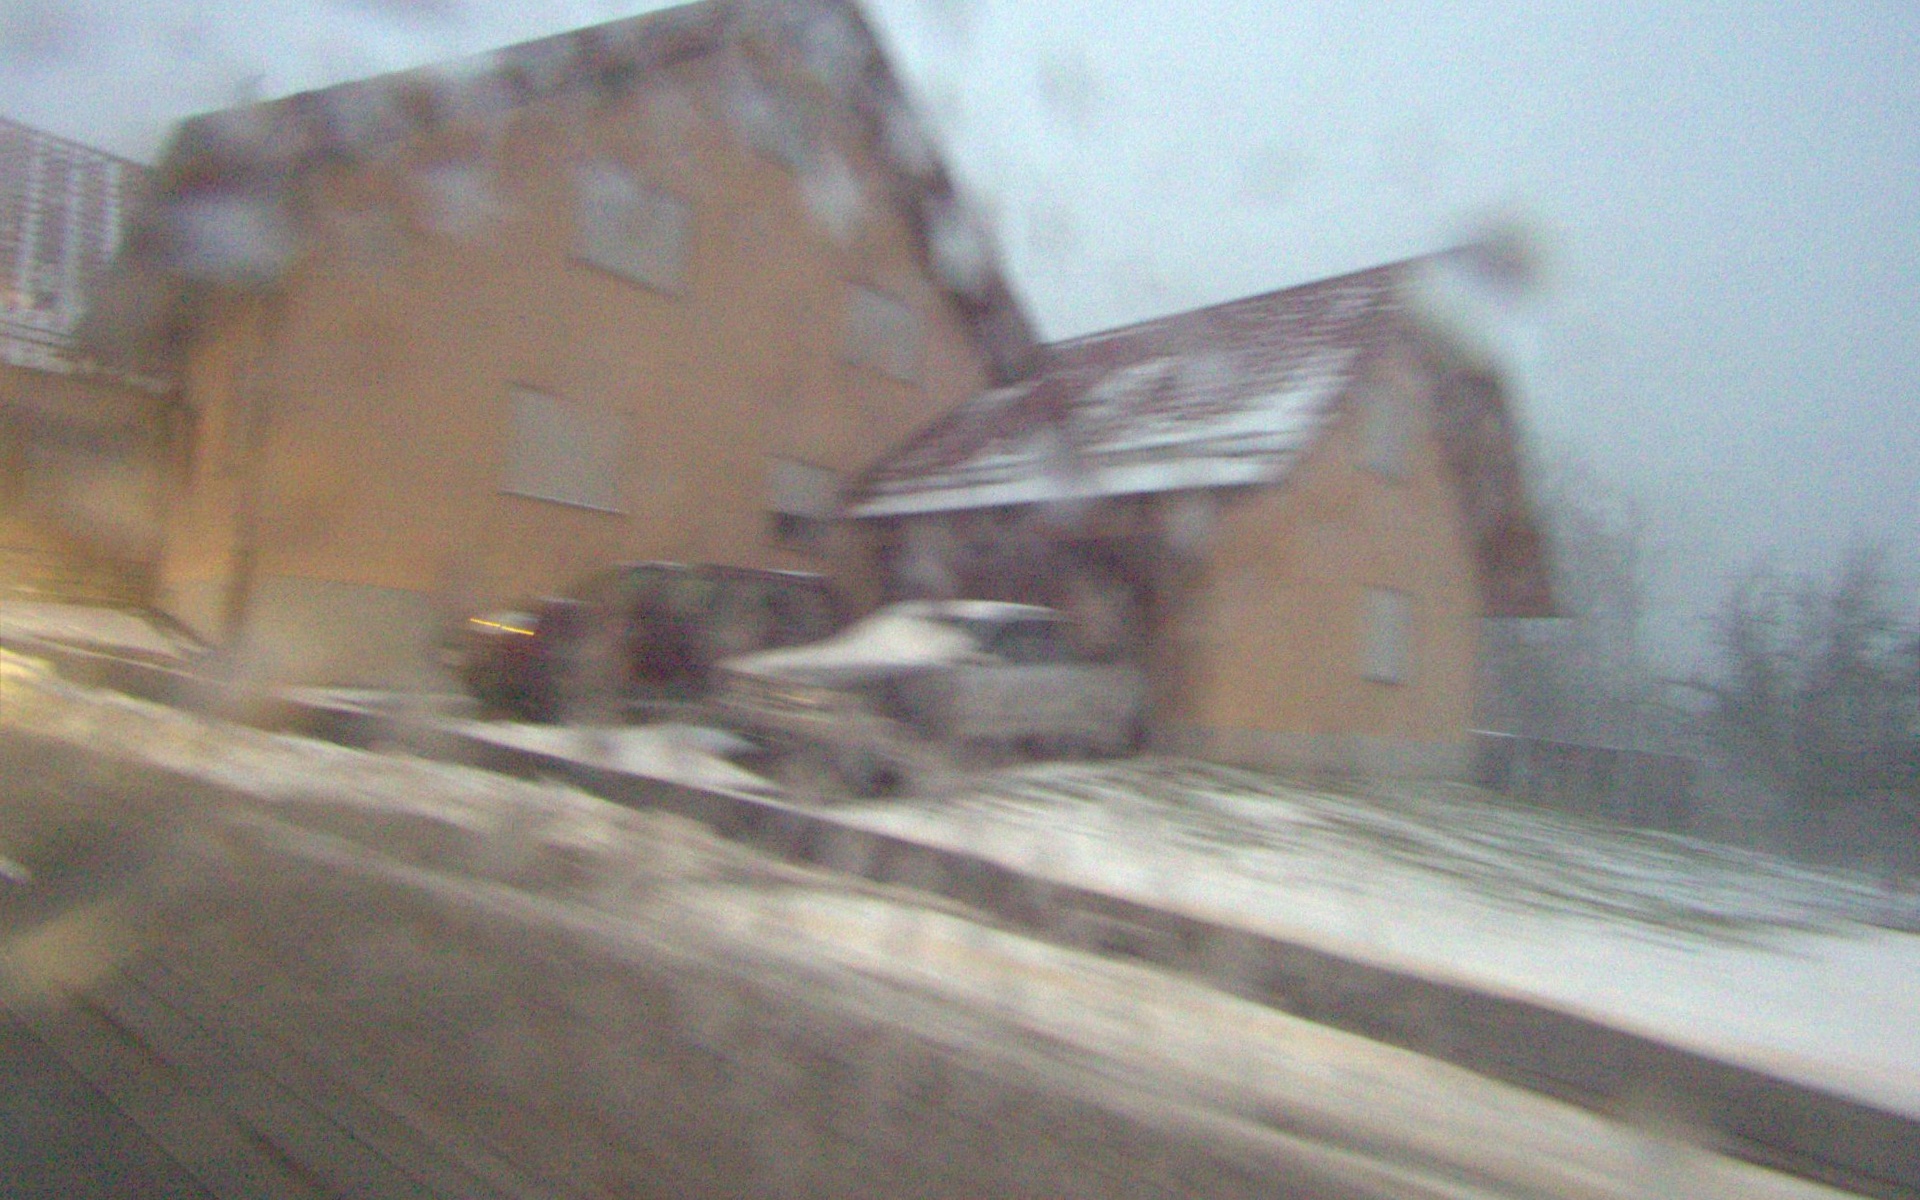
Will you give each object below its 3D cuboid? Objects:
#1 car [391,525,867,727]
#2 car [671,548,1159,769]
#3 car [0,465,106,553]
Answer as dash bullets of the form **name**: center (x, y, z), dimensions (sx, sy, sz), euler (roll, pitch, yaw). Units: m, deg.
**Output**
- **car**: center (-3.181, 0.332, 10.326), dimensions (1.919, 1.578, 4.152), euler (6, 0, 41)
- **car**: center (-0.234, 0.560, 9.390), dimensions (4.229, 1.578, 1.976), euler (7, -2, -44)
- **car**: center (-21.223, -2.070, 21.697), dimensions (1.819, 1.711, 3.980), euler (4, 0, 40)
